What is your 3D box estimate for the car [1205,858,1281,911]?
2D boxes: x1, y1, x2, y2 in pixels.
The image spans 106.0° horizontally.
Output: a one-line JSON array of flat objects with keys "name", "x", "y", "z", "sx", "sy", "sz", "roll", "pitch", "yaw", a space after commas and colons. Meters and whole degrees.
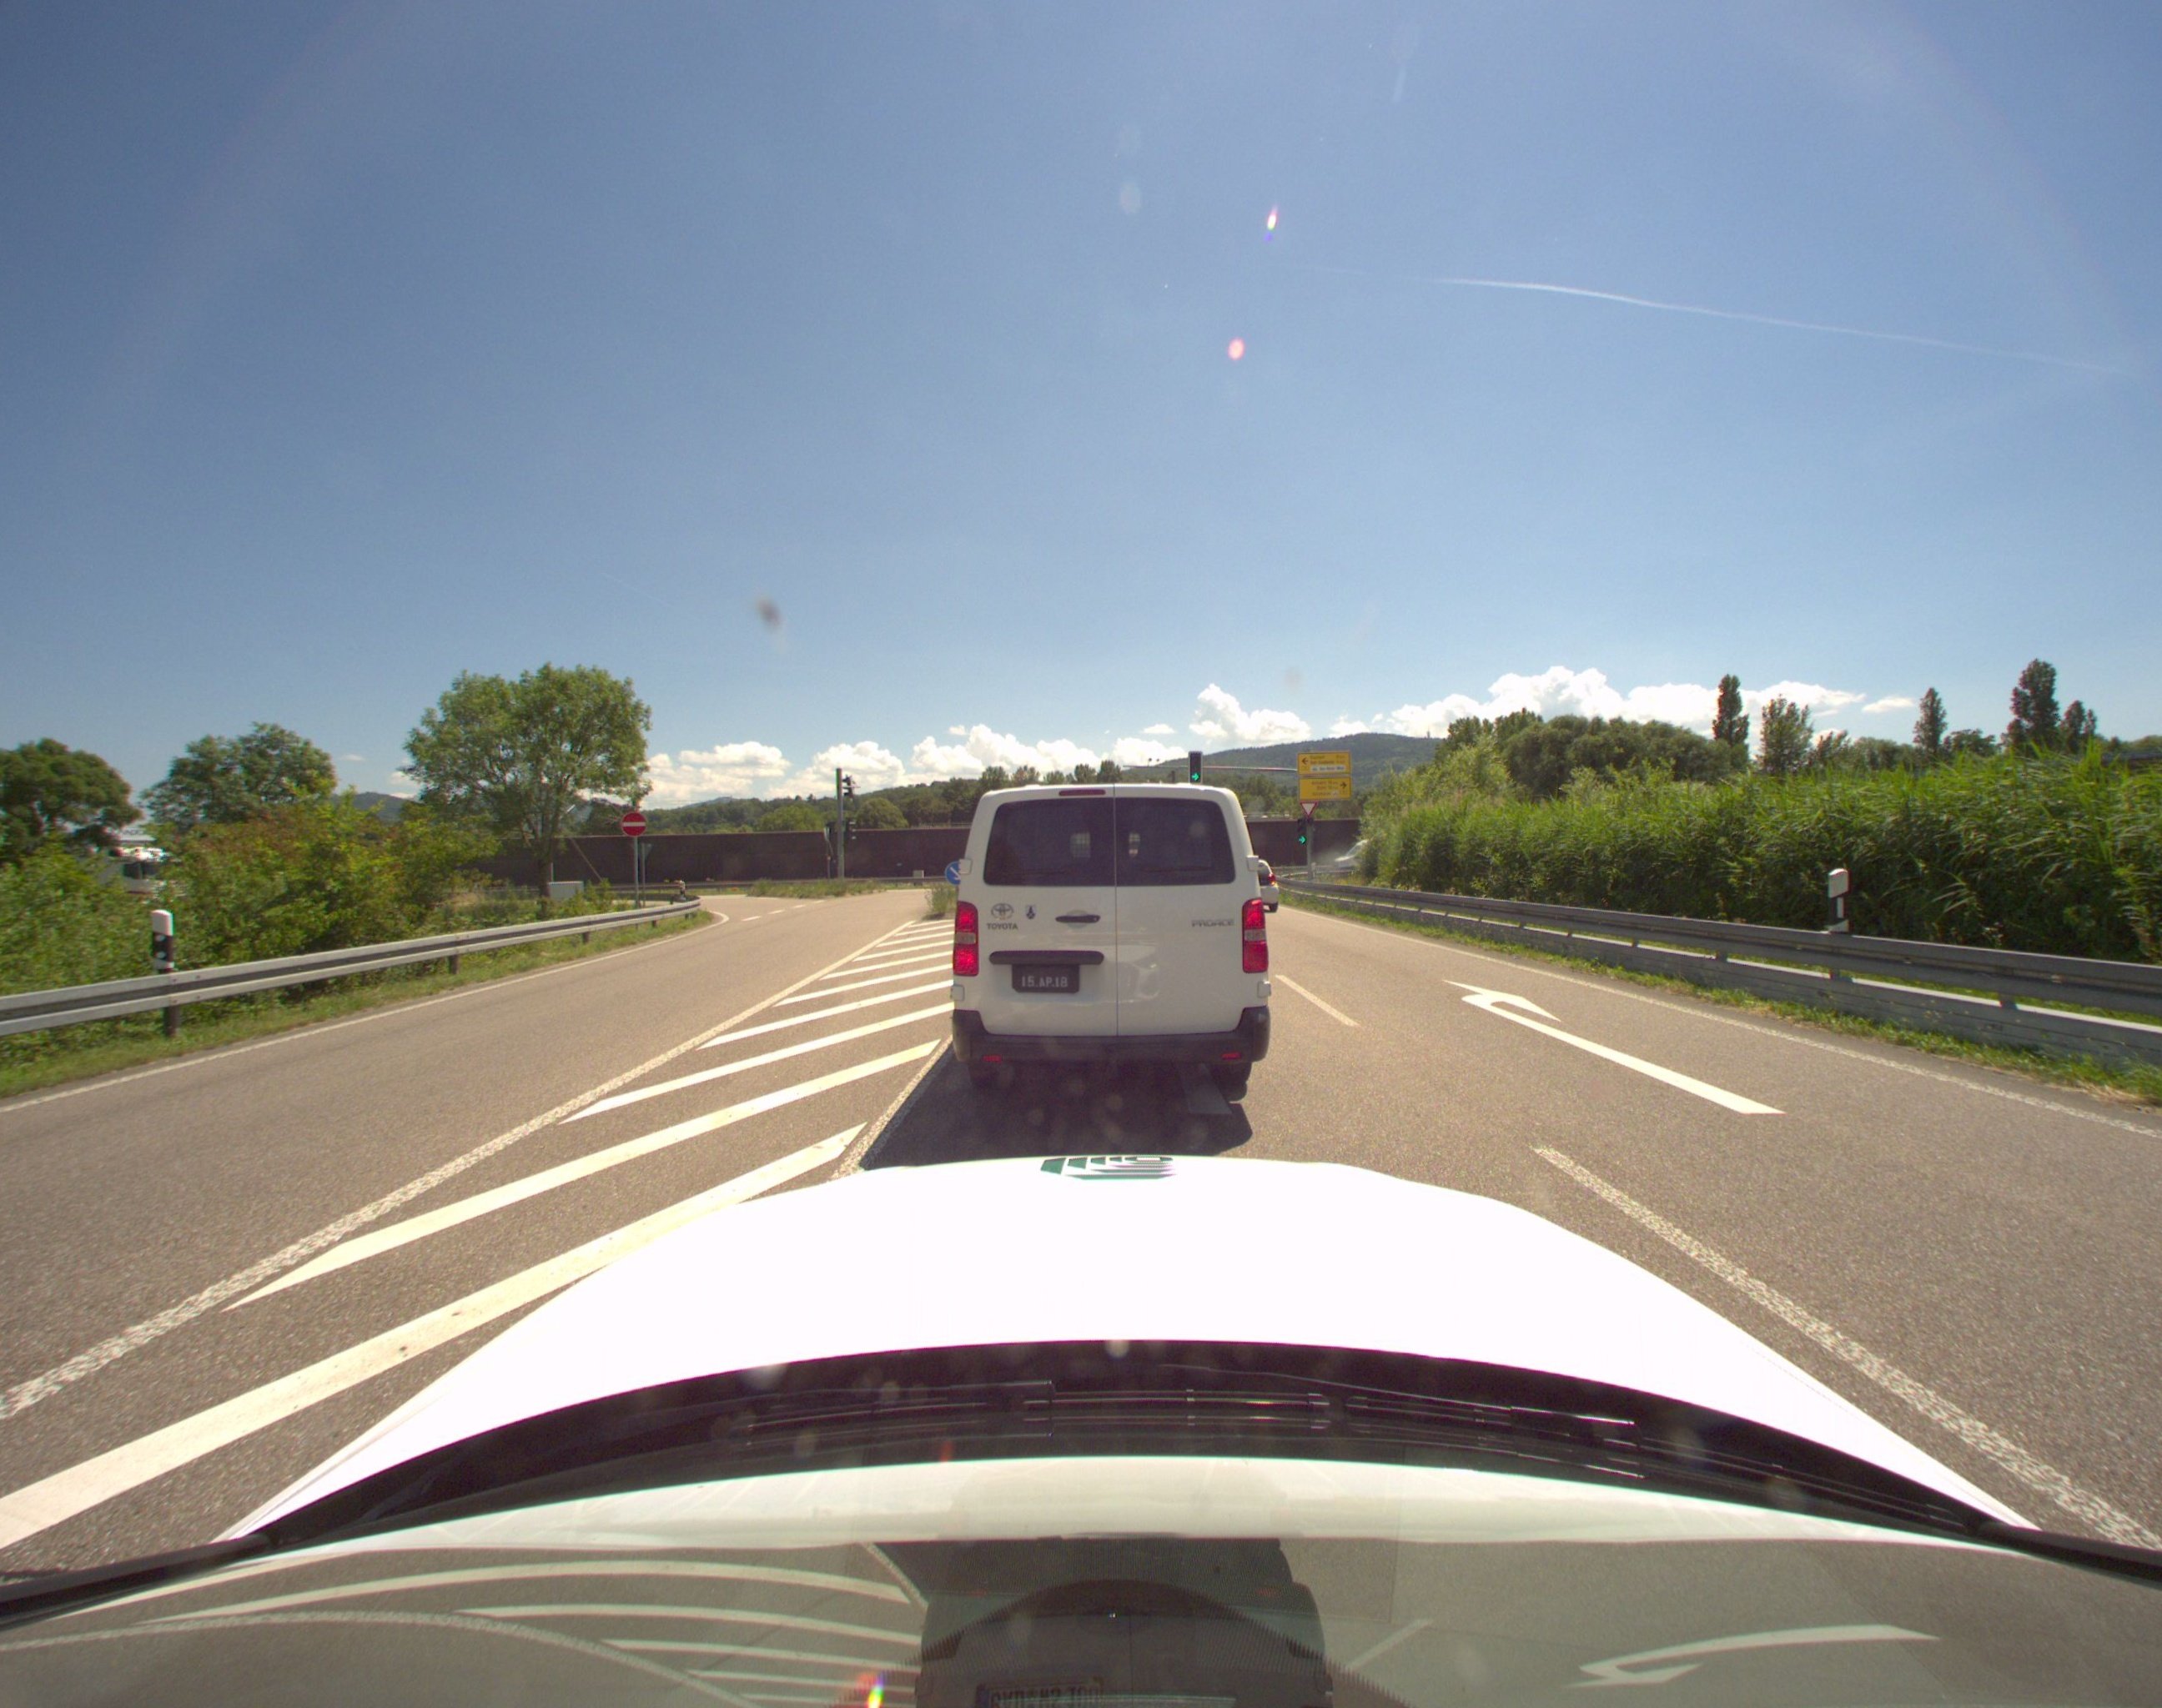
[{"name": "car", "x": 4.630, "y": 0.833, "z": 23.693, "sx": 1.649, "sy": 1.431, "sz": 3.367, "roll": -1, "pitch": -1, "yaw": 2}]

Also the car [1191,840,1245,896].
[{"name": "car", "x": 5.297, "y": 0.538, "z": 31.834, "sx": 1.917, "sy": 2.000, "sz": 4.848, "roll": -1, "pitch": -1, "yaw": 8}]

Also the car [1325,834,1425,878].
[{"name": "car", "x": 17.739, "y": 0.126, "z": 49.331, "sx": 5.328, "sy": 2.450, "sz": 2.039, "roll": -1, "pitch": -1, "yaw": -1}]

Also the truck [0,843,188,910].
[{"name": "truck", "x": -54.585, "y": 1.244, "z": 44.742, "sx": 9.028, "sy": 3.470, "sz": 2.128, "roll": -1, "pitch": -1, "yaw": 3}]

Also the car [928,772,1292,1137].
[{"name": "car", "x": 0.194, "y": 0.538, "z": 6.248, "sx": 1.880, "sy": 1.886, "sz": 4.001, "roll": -1, "pitch": -1, "yaw": 1}]

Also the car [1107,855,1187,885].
[{"name": "car", "x": 3.888, "y": 0.923, "z": 48.098, "sx": 4.318, "sy": 1.656, "sz": 1.989, "roll": -1, "pitch": -1, "yaw": -16}]
